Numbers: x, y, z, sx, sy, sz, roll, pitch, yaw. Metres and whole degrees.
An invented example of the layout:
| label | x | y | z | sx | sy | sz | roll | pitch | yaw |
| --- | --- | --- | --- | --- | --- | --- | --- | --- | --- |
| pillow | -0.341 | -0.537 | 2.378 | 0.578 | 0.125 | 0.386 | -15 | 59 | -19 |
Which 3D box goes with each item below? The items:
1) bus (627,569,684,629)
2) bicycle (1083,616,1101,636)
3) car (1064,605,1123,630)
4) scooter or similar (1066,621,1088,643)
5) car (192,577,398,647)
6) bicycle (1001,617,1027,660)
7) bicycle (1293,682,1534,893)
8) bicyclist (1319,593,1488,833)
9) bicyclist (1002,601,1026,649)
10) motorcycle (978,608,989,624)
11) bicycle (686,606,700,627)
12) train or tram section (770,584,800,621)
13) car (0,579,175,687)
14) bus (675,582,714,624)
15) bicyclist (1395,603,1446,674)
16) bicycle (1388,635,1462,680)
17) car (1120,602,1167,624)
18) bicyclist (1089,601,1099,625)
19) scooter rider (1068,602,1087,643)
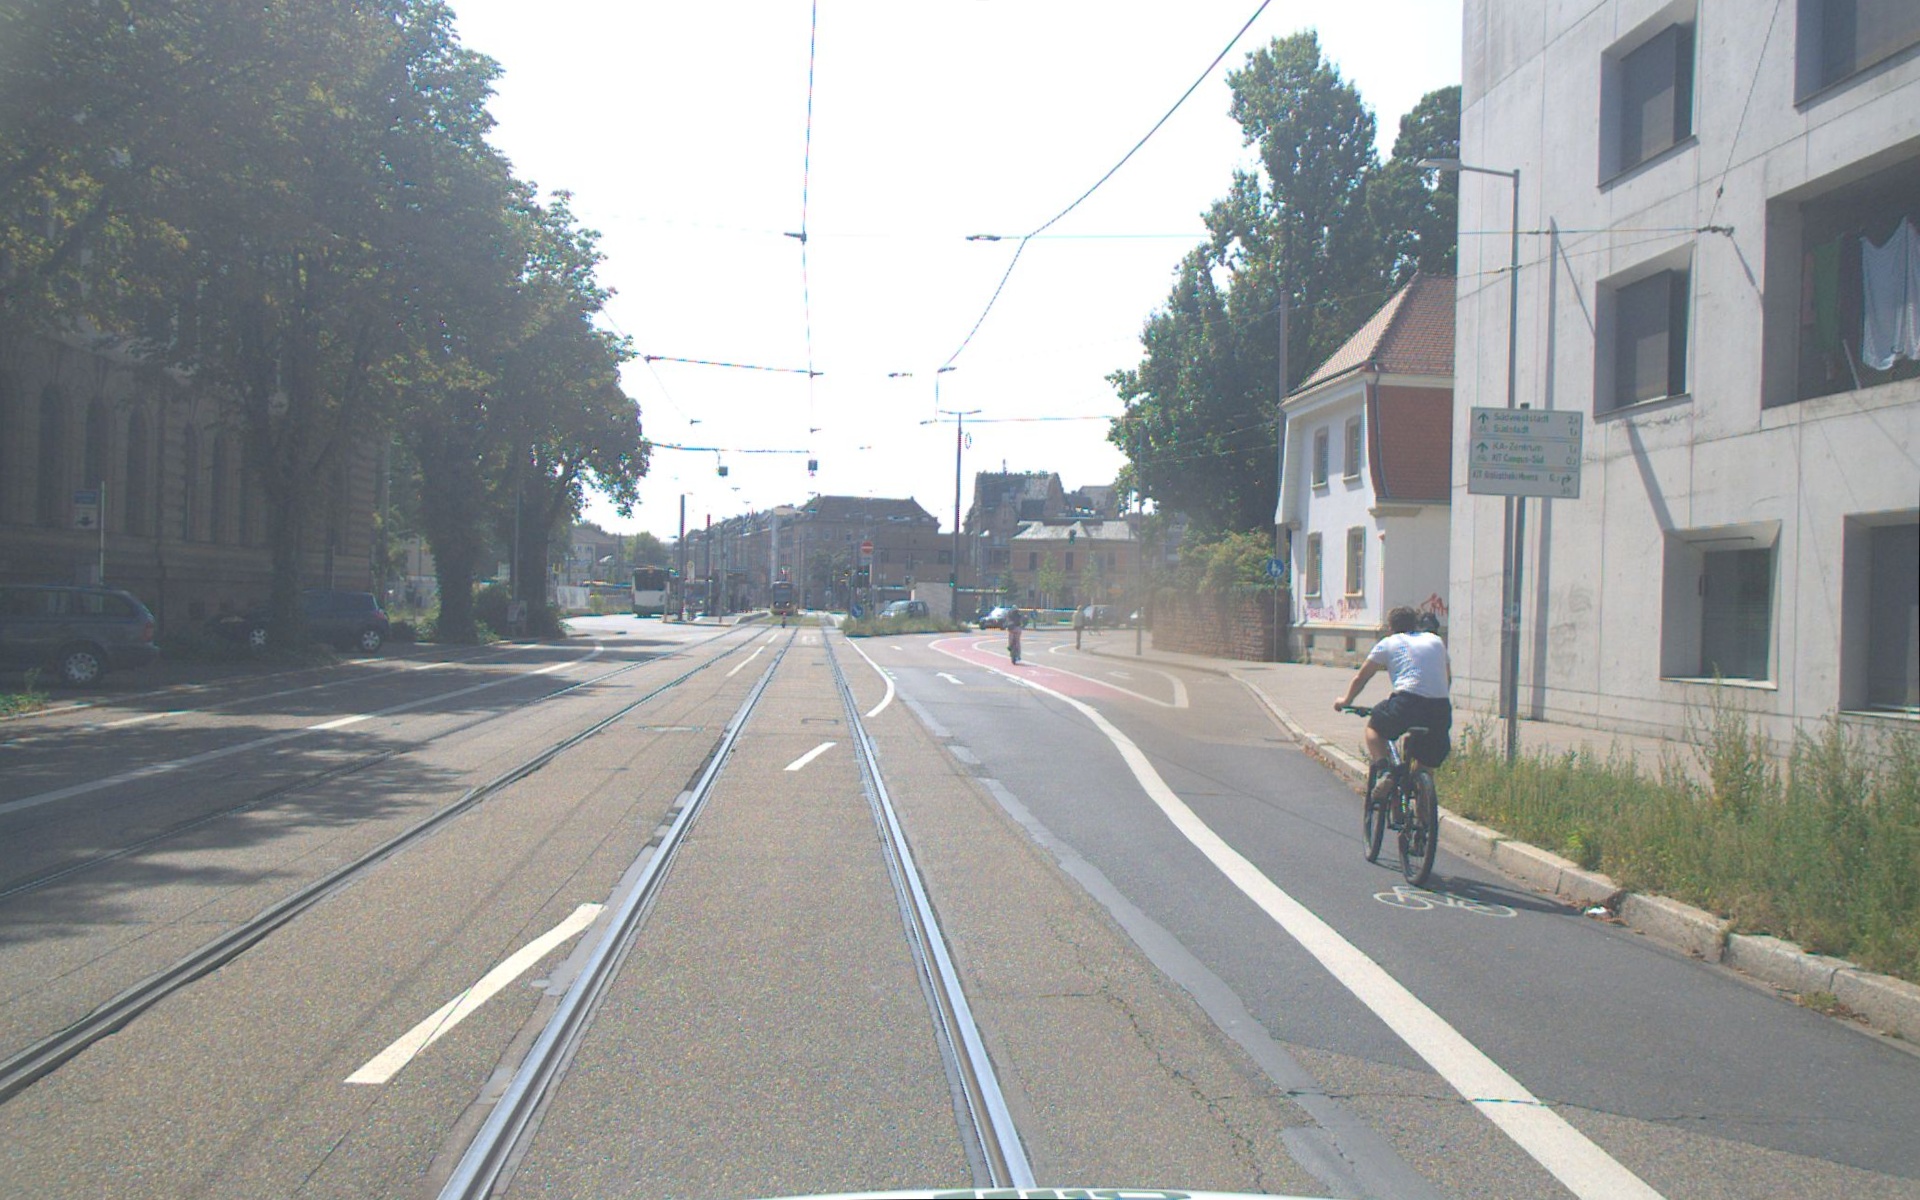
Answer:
| label | x | y | z | sx | sy | sz | roll | pitch | yaw |
| --- | --- | --- | --- | --- | --- | --- | --- | --- | --- |
| bus | -21.141 | -0.024 | 115.294 | 2.901 | 3.841 | 10.583 | 2 | -1 | -6 |
| bicycle | 7.899 | 1.554 | 98.950 | 0.436 | 1.136 | 1.443 | 1 | -1 | 31 |
| car | 9.458 | 1.257 | 116.850 | 1.744 | 1.639 | 4.649 | 1 | -1 | 40 |
| scooter or similar | 5.216 | 1.413 | 73.637 | 0.756 | 0.943 | 1.621 | 2 | 0 | 12 |
| car | -15.593 | 0.303 | 38.883 | 4.129 | 1.522 | 1.793 | 2 | 0 | -43 |
| bicycle | 1.533 | 1.088 | 46.995 | 0.592 | 1.183 | 1.810 | 1 | 0 | -2 |
| bicycle | 2.789 | 1.116 | 10.456 | 0.725 | 1.067 | 2.231 | 2 | 0 | -5 |
| bicyclist | 2.801 | 0.690 | 10.530 | 0.730 | 1.436 | 0.961 | 2 | 0 | -5 |
| bicyclist | 1.540 | 0.706 | 46.990 | 0.590 | 1.358 | 0.659 | 1 | -1 | -3 |
| motorcycle | 1.821 | 1.215 | 127.671 | 0.591 | 1.232 | 2.255 | 1 | 0 | 6 |
| bicycle | -16.488 | 1.013 | 102.275 | 0.595 | 1.244 | 1.704 | 1 | -1 | -1 |
| train or tram section | -18.407 | 0.317 | 174.947 | 2.801 | 3.610 | 17.721 | 2 | -1 | -5 |
| car | -13.924 | 0.442 | 24.005 | 4.372 | 1.487 | 1.801 | 2 | -1 | -32 |
| bus | -25.669 | 0.346 | 160.302 | 2.656 | 3.792 | 10.410 | 2 | -1 | -4 |
| bicyclist | 10.838 | 0.907 | 38.930 | 0.976 | 1.626 | 0.623 | 2 | 0 | -25 |
| bicycle | 10.965 | 1.354 | 38.991 | 1.683 | 1.017 | 0.611 | 2 | -1 | -24 |
| car | 13.834 | 1.005 | 124.384 | 1.622 | 1.557 | 4.309 | 1 | -1 | 35 |
| bicyclist | 8.044 | 0.766 | 99.182 | 0.441 | 1.446 | 0.494 | 1 | -1 | 31 |
| scooter rider | 5.252 | 1.016 | 73.716 | 0.746 | 1.806 | 0.555 | 1 | -1 | 11 |
